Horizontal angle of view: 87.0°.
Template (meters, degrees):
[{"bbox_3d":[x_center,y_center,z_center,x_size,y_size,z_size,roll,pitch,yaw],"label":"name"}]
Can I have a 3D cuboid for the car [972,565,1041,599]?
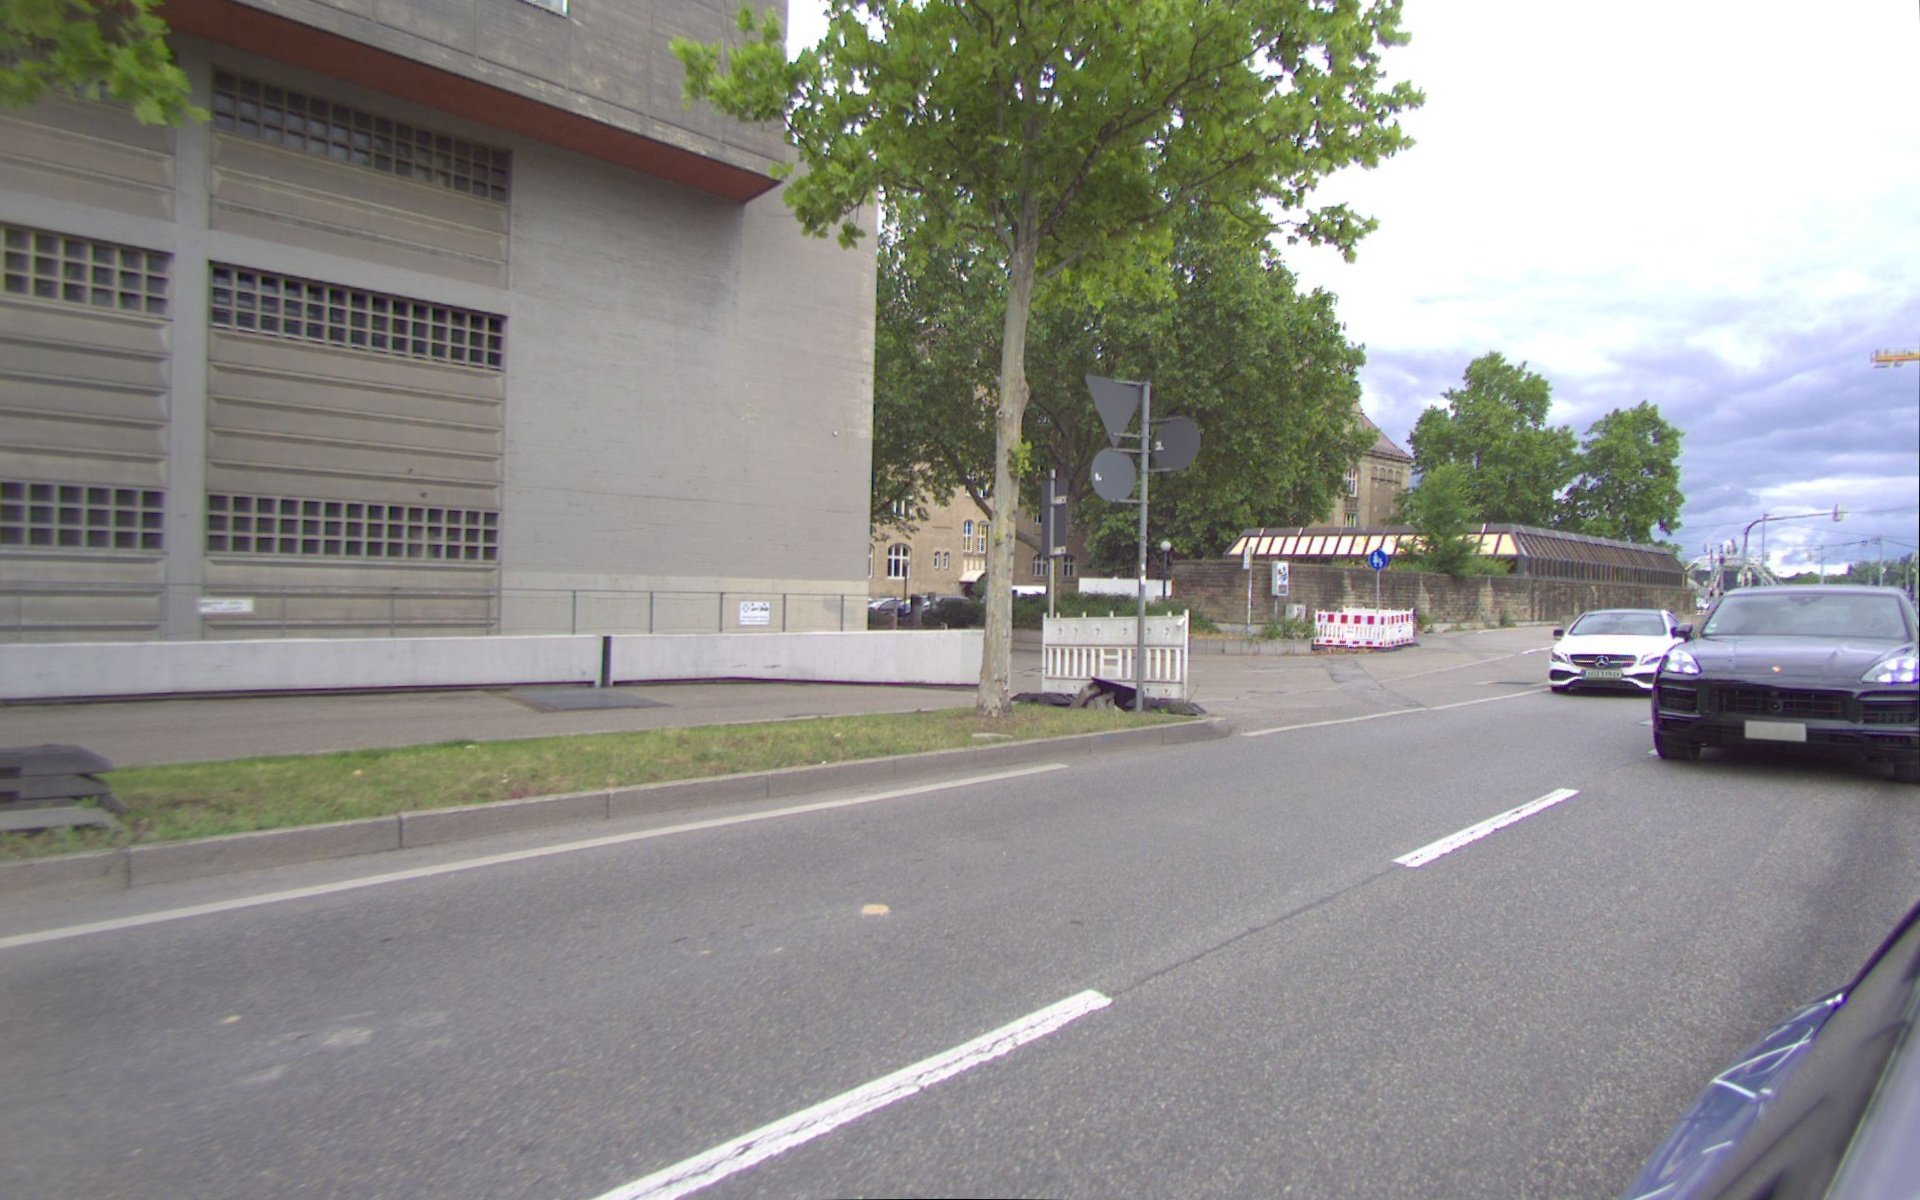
[{"bbox_3d":[2.720,-1.041,58.928,3.905,1.848,1.810,0,2,-43],"label":"car"}]

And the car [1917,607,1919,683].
[{"bbox_3d":[17.931,0.605,17.301,3.646,1.625,1.812,0,2,-39],"label":"car"}]

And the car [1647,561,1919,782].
[{"bbox_3d":[8.380,0.518,9.796,4.531,1.668,1.952,-1,0,-44],"label":"car"}]

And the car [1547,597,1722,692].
[{"bbox_3d":[11.839,0.697,17.654,1.735,1.454,4.310,-1,-1,45],"label":"car"}]

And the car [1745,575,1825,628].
[{"bbox_3d":[31.094,0.033,38.133,3.709,1.848,1.810,0,2,-43],"label":"car"}]

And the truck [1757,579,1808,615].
[{"bbox_3d":[91.653,-0.359,112.915,2.887,3.721,8.930,2,1,30],"label":"truck"}]
